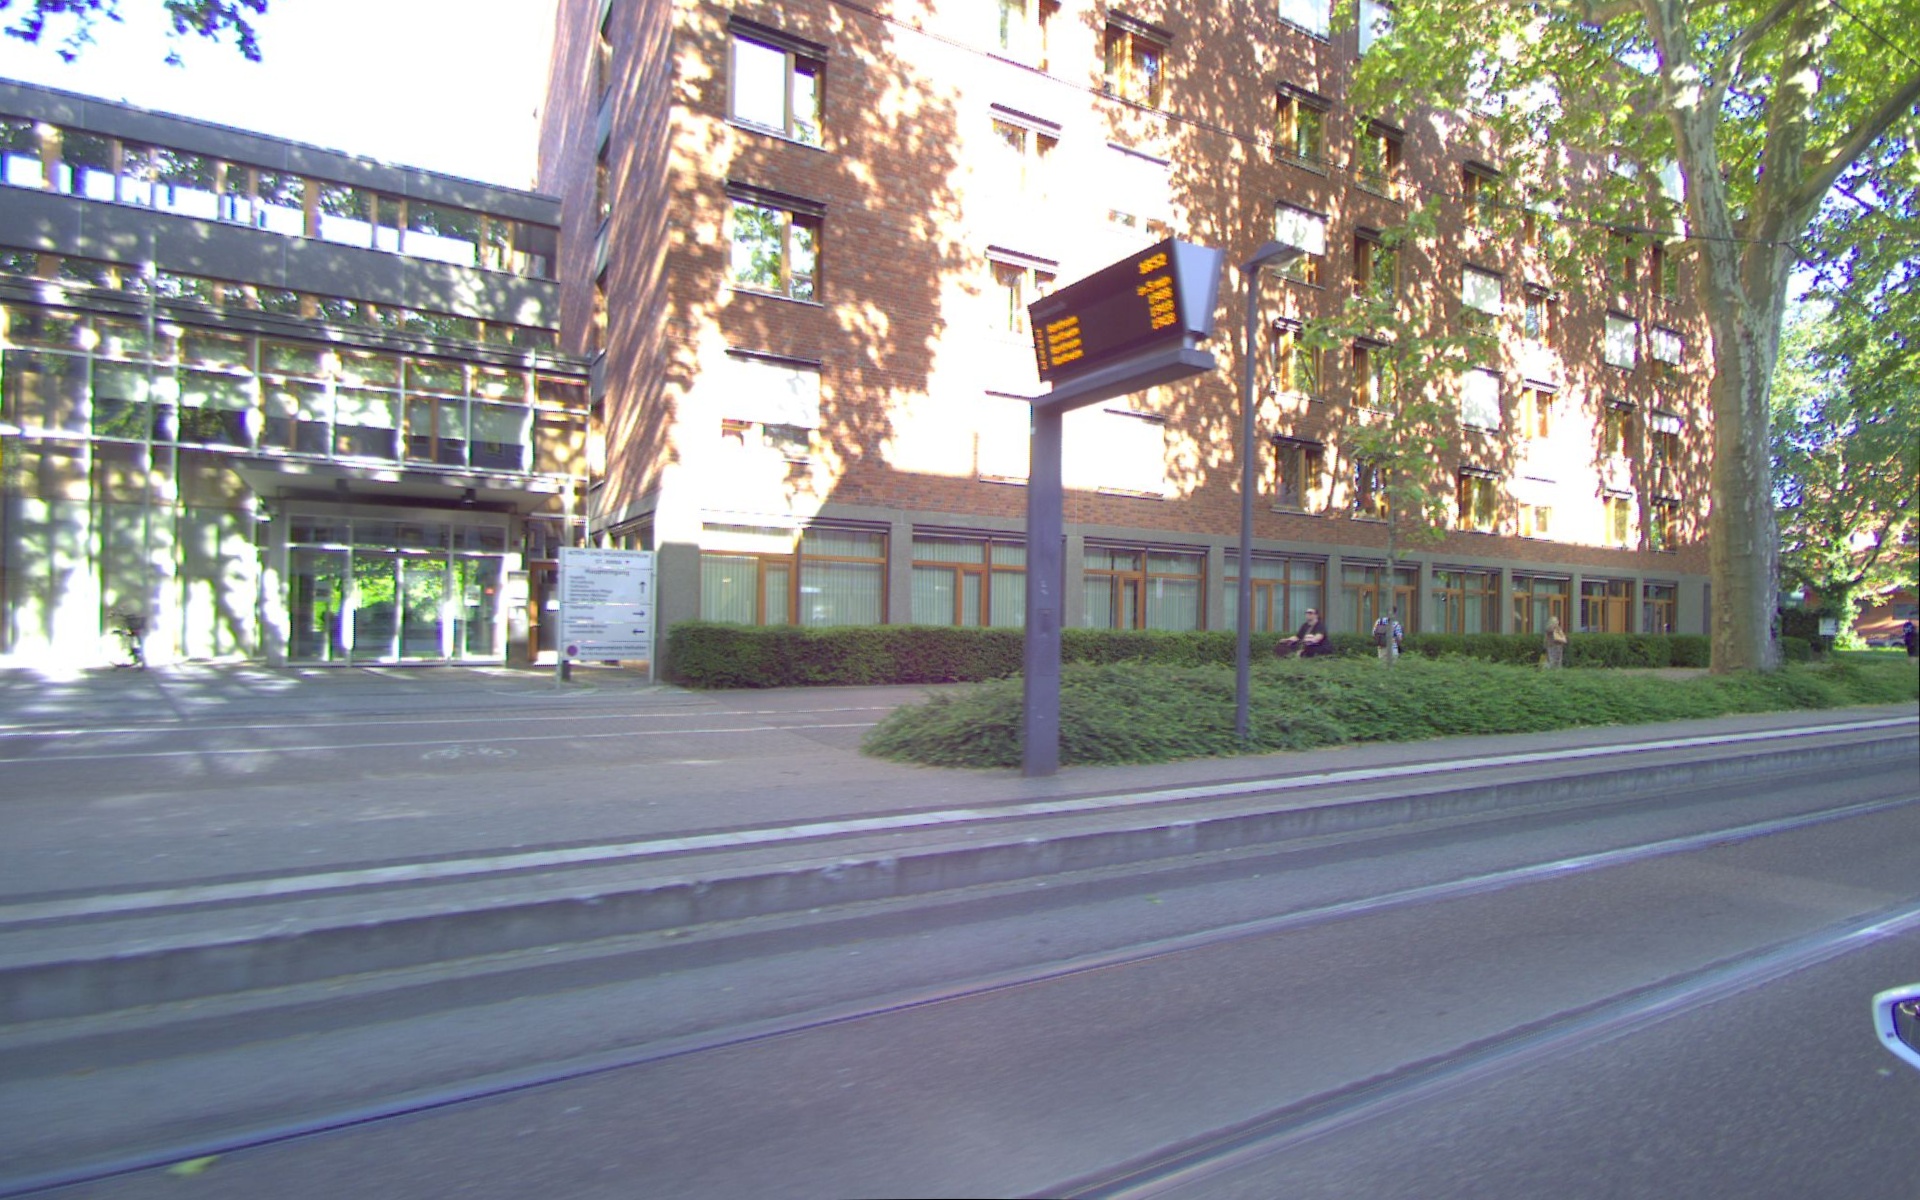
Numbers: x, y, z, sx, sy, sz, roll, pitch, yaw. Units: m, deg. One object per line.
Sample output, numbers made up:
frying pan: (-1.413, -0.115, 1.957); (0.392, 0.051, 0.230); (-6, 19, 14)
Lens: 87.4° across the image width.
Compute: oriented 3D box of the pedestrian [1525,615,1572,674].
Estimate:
pedestrian: (16.721, 1.252, 28.537); (0.935, 1.626, 0.771); (2, 0, -30)

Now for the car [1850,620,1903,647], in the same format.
car: (71.537, 2.621, 78.392); (3.953, 2.040, 1.984); (2, 0, -30)

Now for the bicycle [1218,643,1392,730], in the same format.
bicycle: (5.573, 1.347, 16.144); (2.943, 1.256, 0.950); (2, 0, -30)

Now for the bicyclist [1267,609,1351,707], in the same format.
bicyclist: (5.610, 0.913, 16.177); (0.828, 1.511, 0.950); (2, 0, -30)

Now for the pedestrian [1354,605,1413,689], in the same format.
pedestrian: (8.799, 0.968, 20.885); (0.851, 1.694, 0.732); (2, 0, -30)

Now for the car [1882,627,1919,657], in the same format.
car: (67.595, 2.986, 70.187); (1.976, 2.040, 4.230); (2, -1, -30)

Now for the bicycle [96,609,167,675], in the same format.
bicycle: (-14.895, 0.735, 18.037); (1.920, 1.087, 0.760); (1, 0, 44)

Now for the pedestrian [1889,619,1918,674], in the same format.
pedestrian: (34.664, 1.708, 36.914); (0.663, 1.976, 0.496); (2, 0, -18)
